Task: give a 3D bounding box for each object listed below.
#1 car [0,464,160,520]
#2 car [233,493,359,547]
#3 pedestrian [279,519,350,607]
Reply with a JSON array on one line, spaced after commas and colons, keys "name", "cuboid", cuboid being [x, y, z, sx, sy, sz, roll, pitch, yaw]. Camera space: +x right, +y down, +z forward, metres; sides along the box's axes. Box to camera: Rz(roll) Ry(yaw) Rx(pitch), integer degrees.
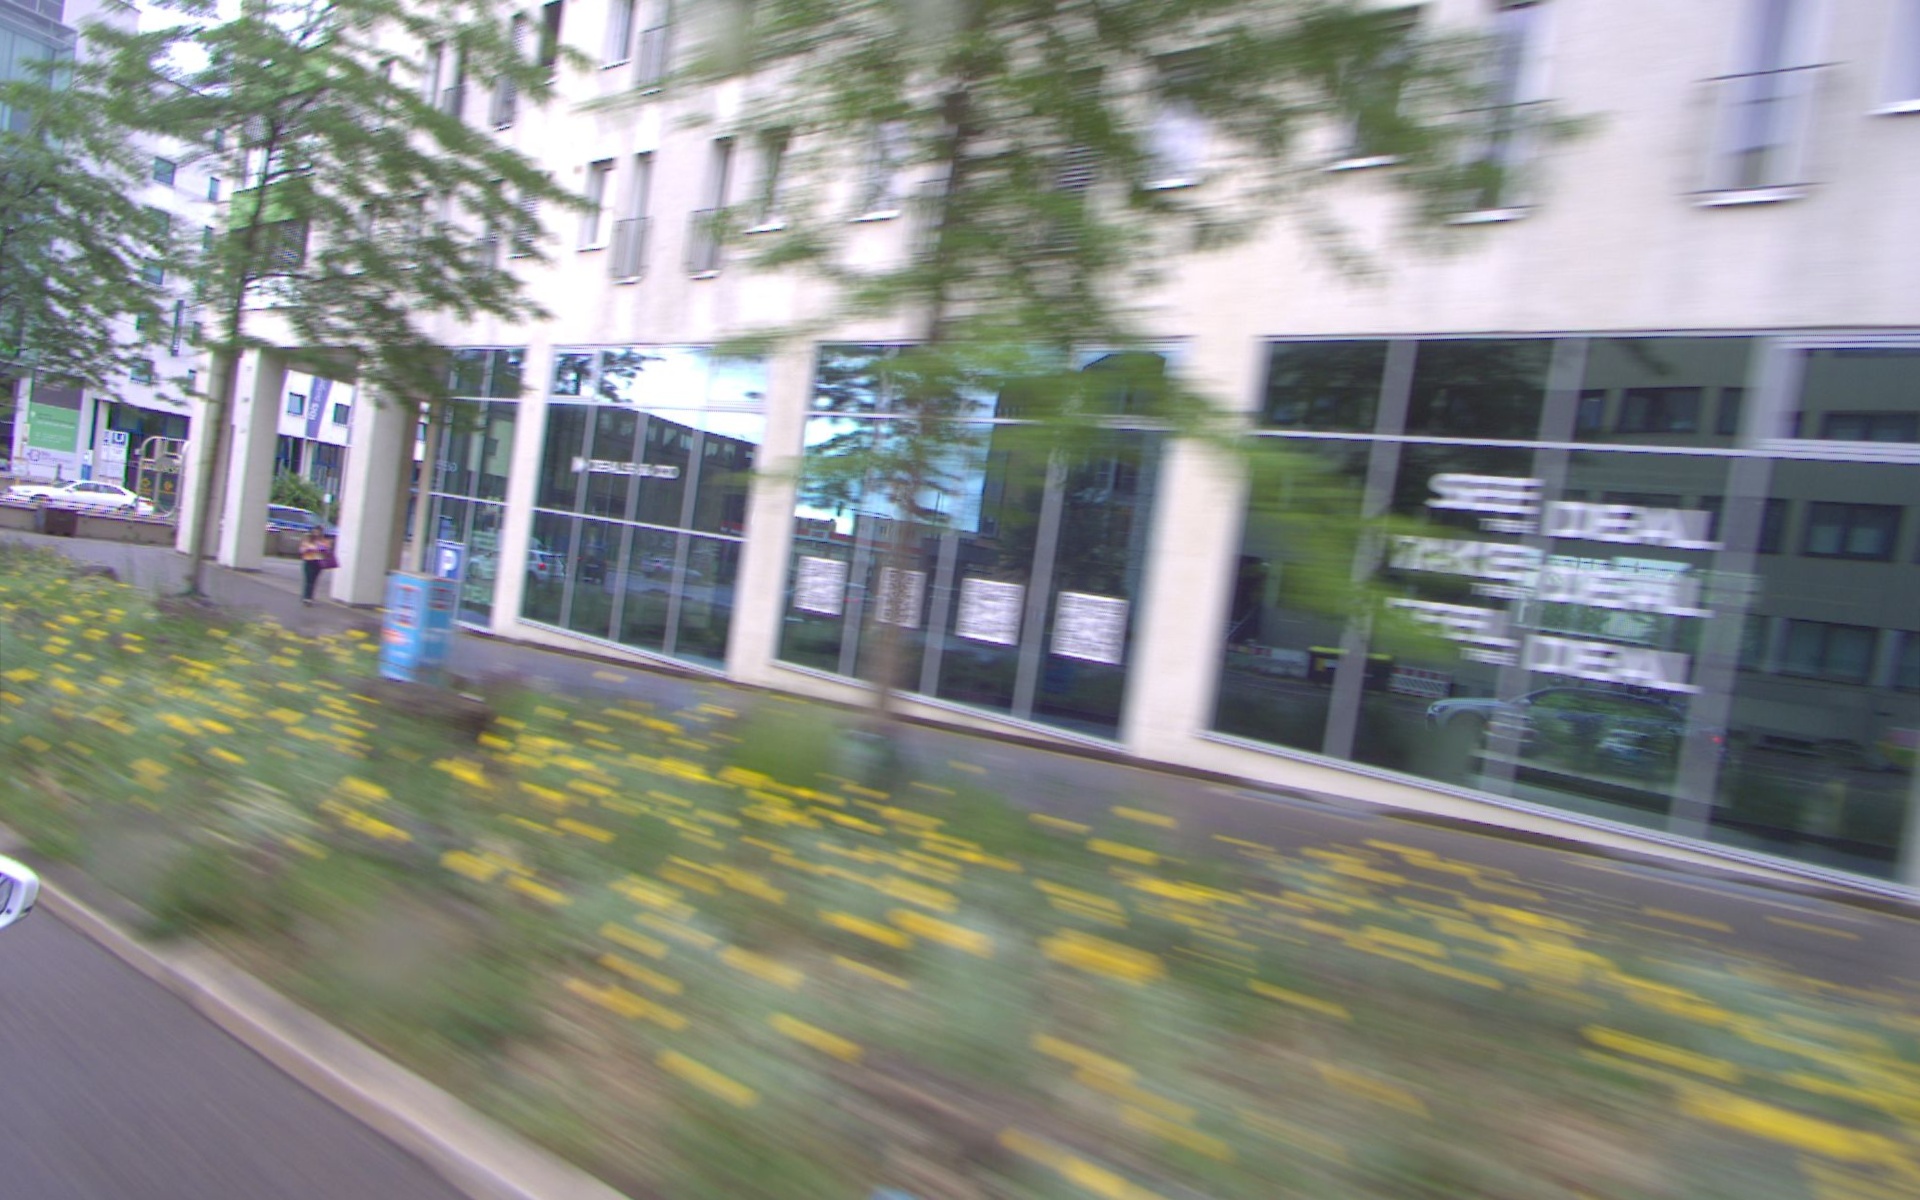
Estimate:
[{"name": "car", "cuboid": [-36.975, -4.507, 42.192, 1.792, 1.404, 4.956, 9, 0, 29]}, {"name": "car", "cuboid": [-28.667, -3.431, 43.552, 1.964, 1.593, 3.998, 9, 0, 25]}, {"name": "pedestrian", "cuboid": [-14.171, -0.815, 22.083, 1.072, 1.732, 0.872, 9, 0, 41]}]
